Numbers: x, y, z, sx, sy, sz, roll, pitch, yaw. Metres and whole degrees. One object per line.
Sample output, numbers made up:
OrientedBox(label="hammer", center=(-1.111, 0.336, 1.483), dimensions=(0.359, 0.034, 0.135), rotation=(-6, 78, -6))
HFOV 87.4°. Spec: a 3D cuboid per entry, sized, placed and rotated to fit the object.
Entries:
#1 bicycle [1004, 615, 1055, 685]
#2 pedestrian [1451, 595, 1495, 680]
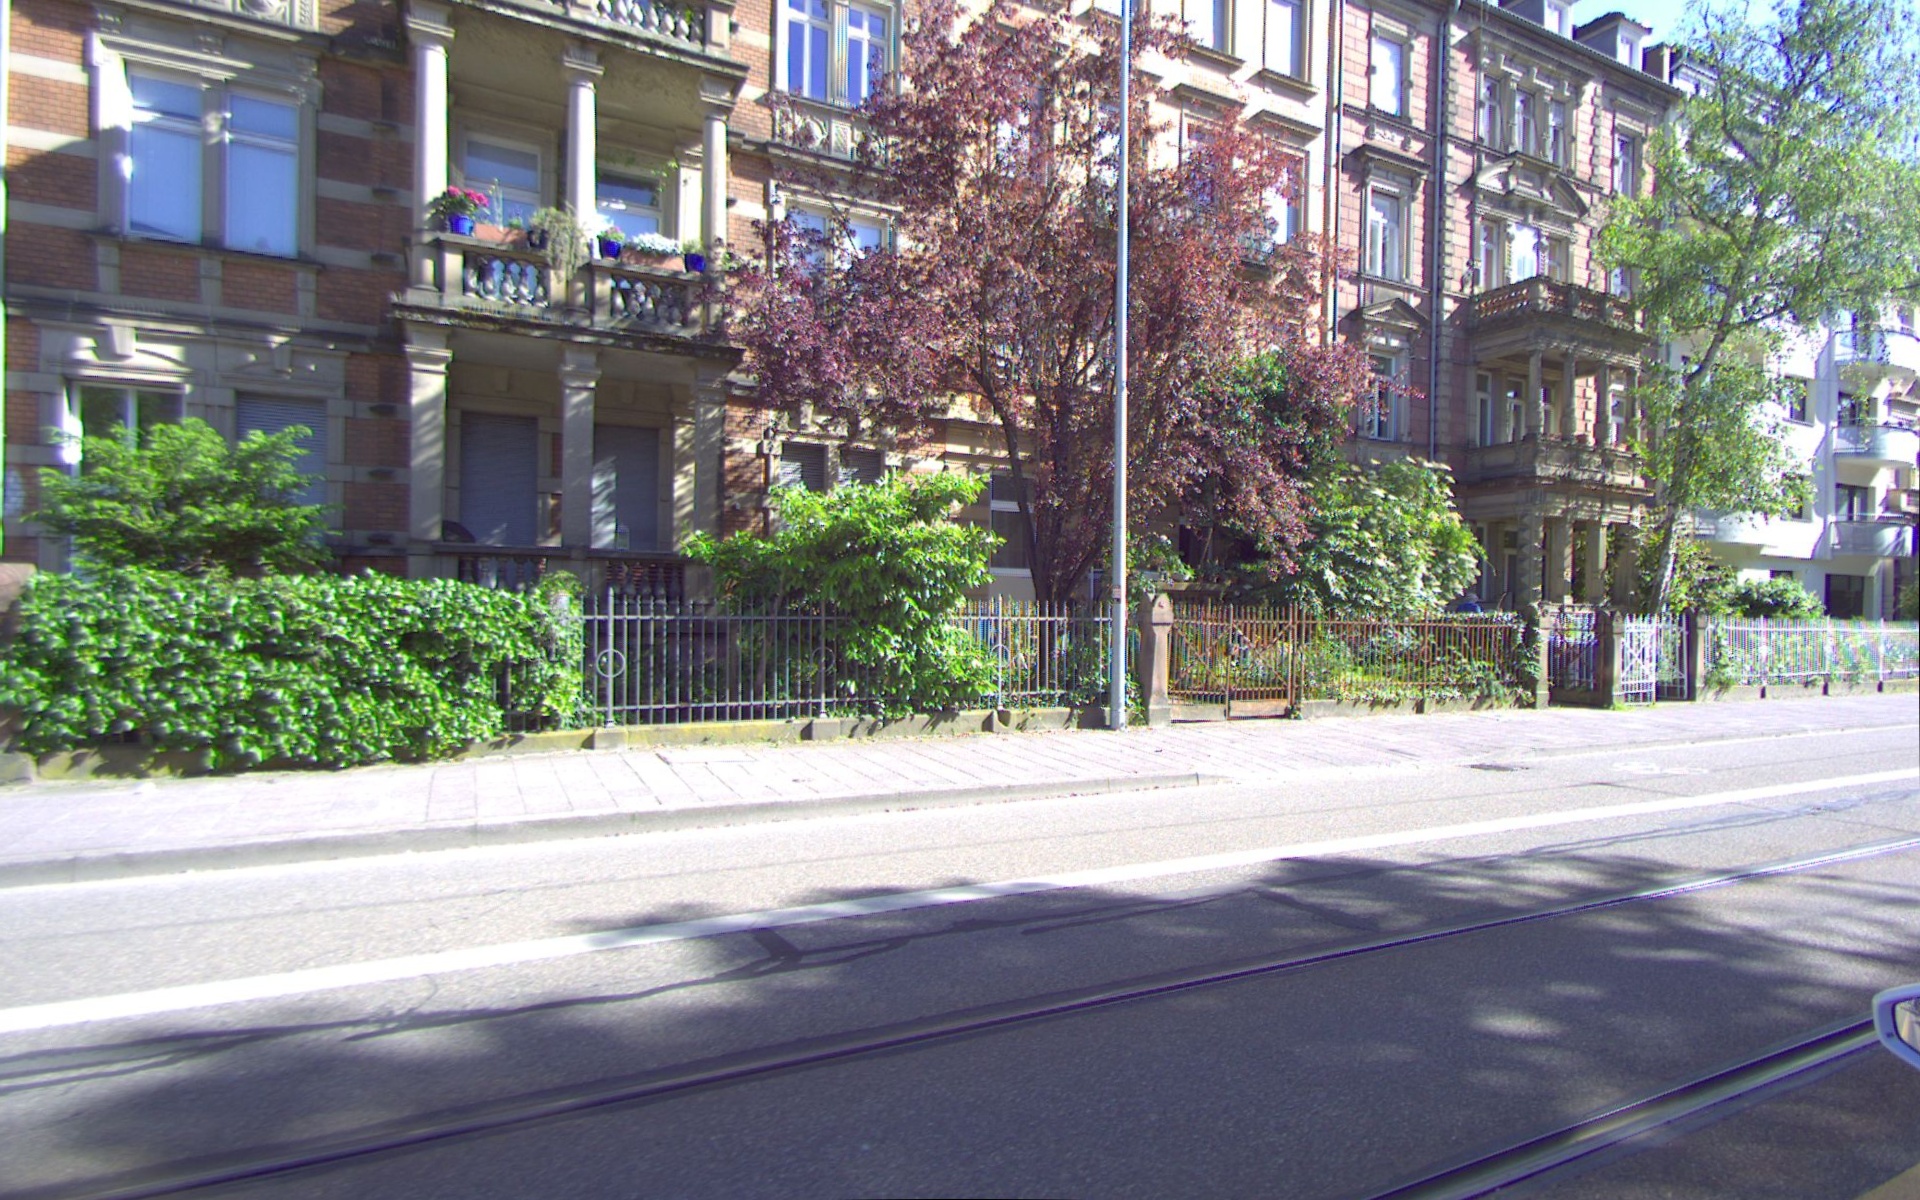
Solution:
OrientedBox(label="bicycle", center=(1.048, 0.742, 15.336), dimensions=(0.291, 0.985, 1.145), rotation=(1, 1, -22))
OrientedBox(label="pedestrian", center=(10.521, 0.756, 20.615), dimensions=(0.599, 1.696, 0.511), rotation=(1, 1, -28))
